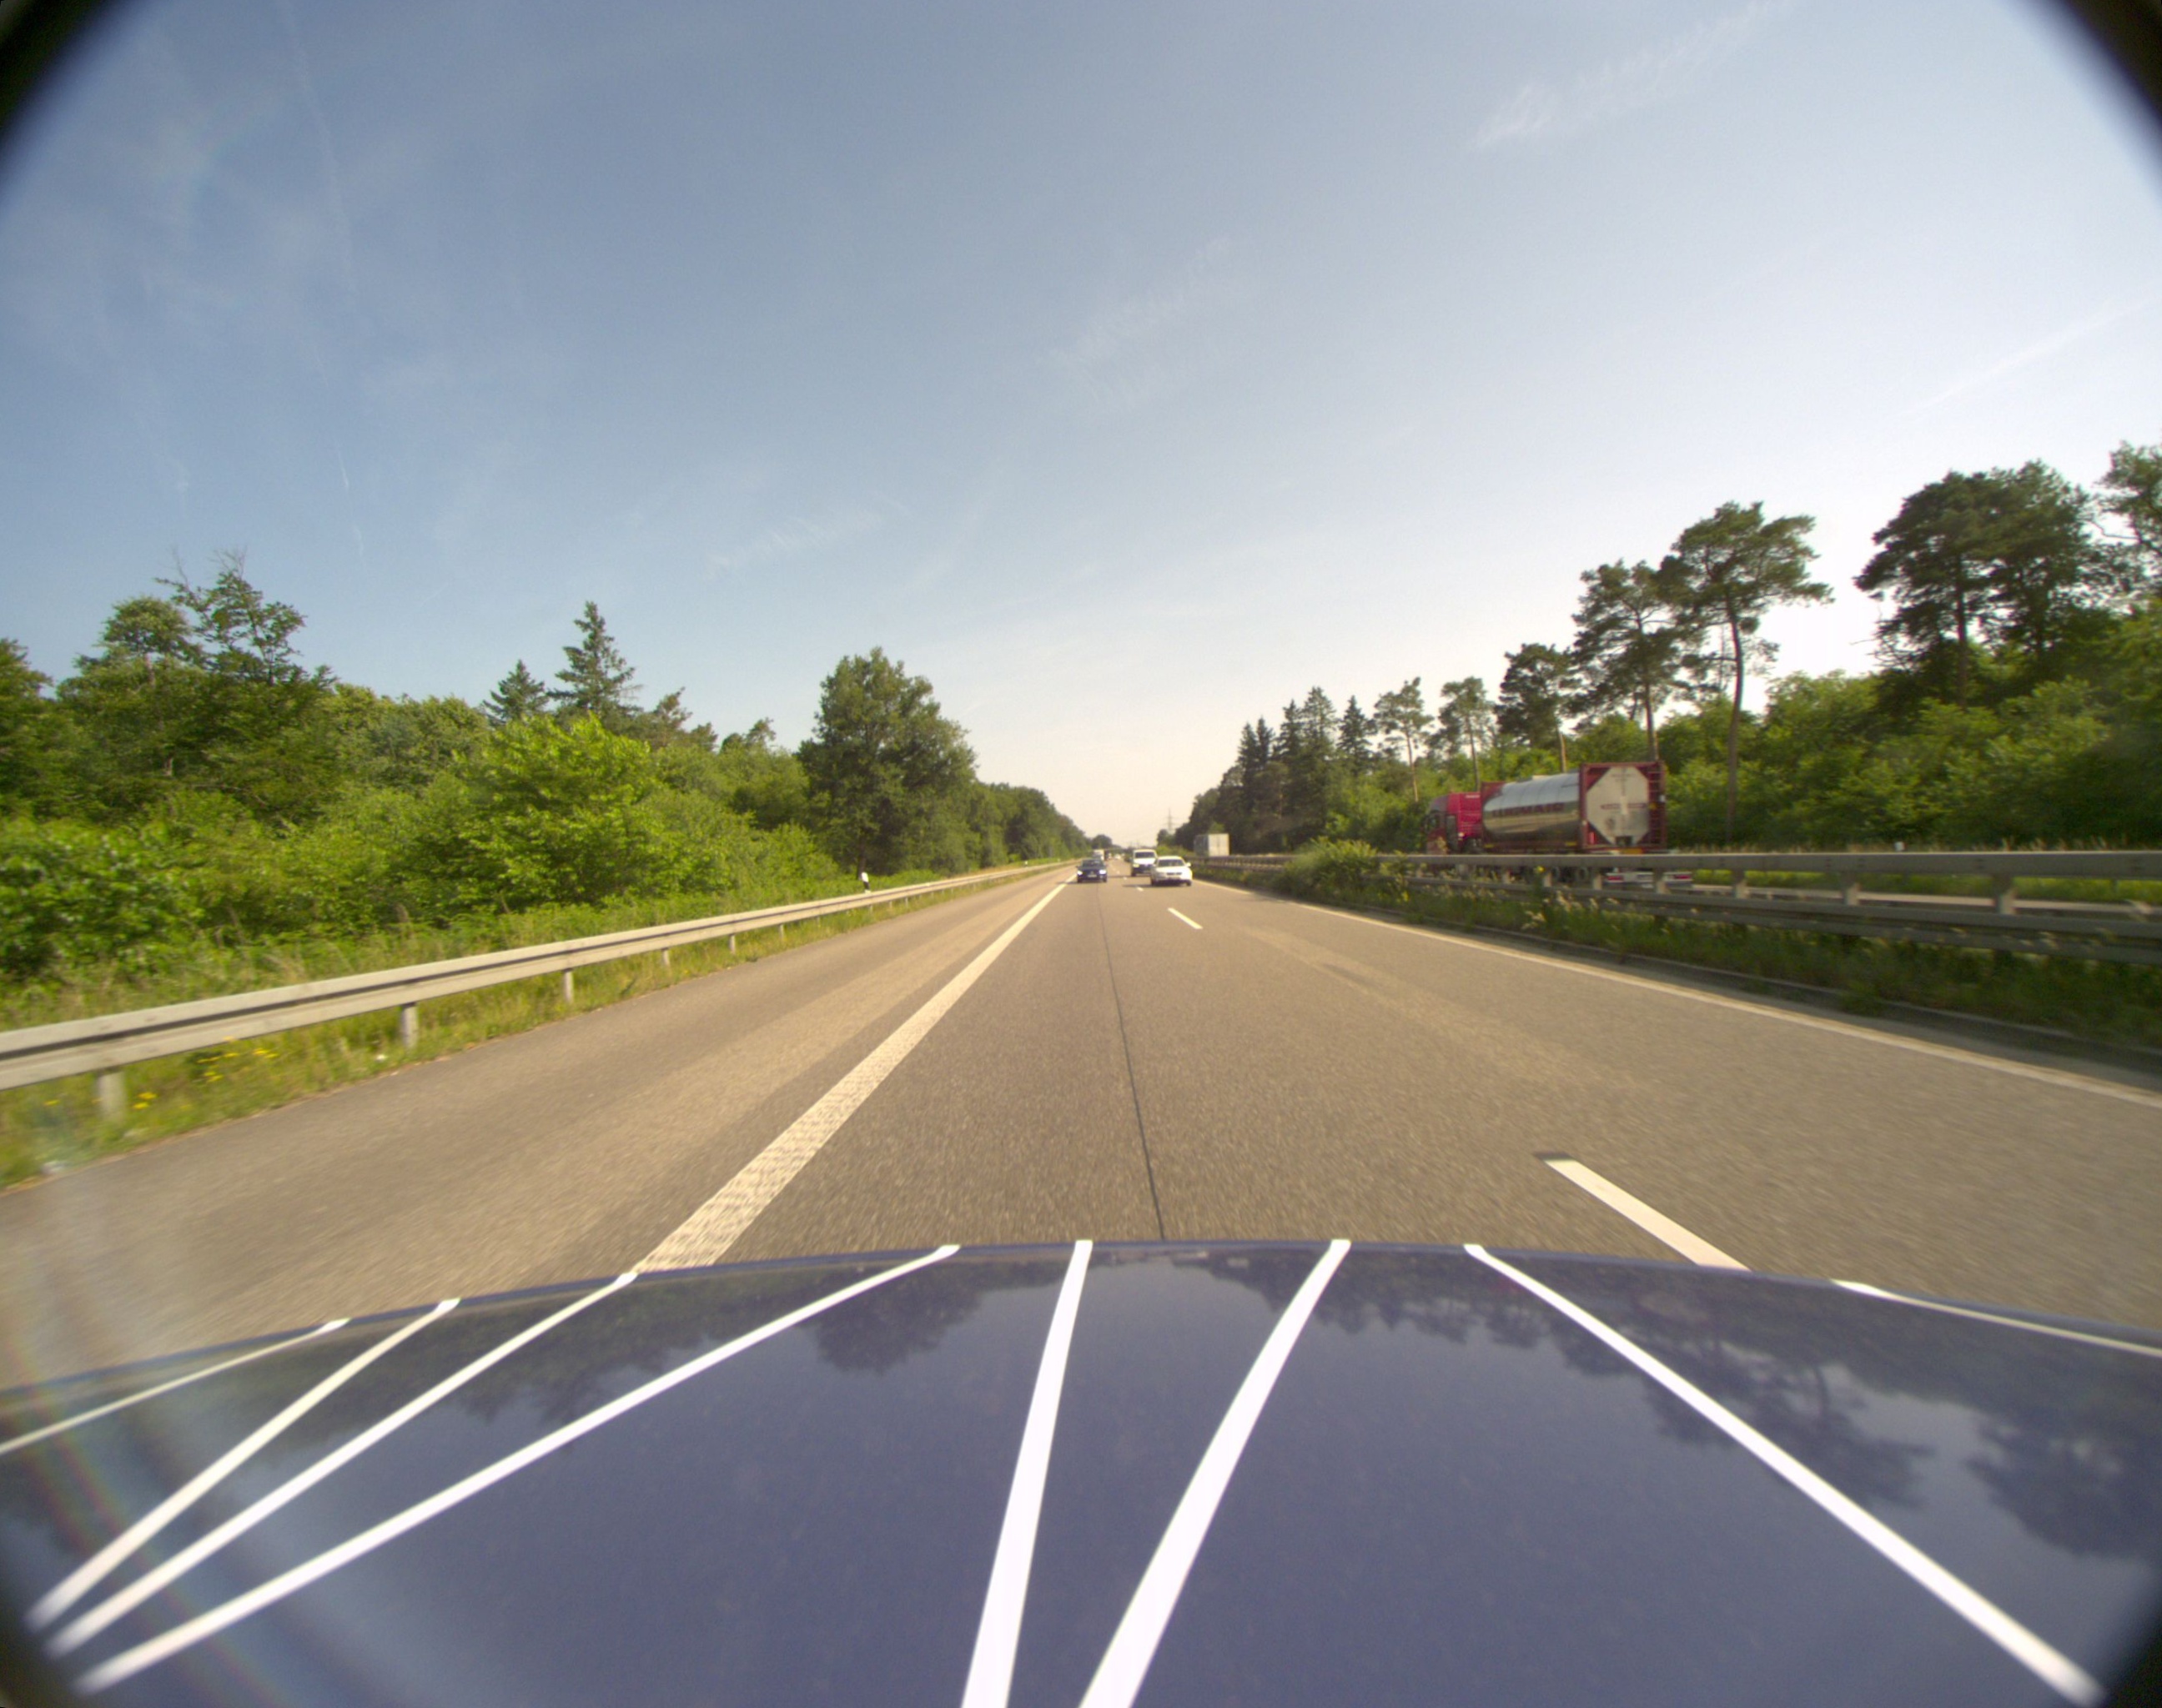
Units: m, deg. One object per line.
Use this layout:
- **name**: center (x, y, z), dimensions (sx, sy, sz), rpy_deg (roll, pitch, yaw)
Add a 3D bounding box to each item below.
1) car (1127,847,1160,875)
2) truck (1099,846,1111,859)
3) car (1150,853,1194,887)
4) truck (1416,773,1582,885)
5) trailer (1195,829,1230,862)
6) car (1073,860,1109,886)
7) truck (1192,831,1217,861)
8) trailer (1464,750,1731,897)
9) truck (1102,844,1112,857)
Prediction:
- **car**: center (4.585, 0.483, 56.320), dimensions (1.912, 1.934, 4.706), rpy_deg (-2, 0, 0)
- **truck**: center (5.856, -0.324, 188.608), dimensions (2.694, 3.020, 10.372), rpy_deg (-2, 0, 1)
- **car**: center (4.486, 0.749, 38.085), dimensions (1.754, 1.477, 5.264), rpy_deg (-2, 0, 3)
- **truck**: center (16.749, -0.947, 31.037), dimensions (3.275, 4.016, 6.232), rpy_deg (-2, 1, 0)
- **trailer**: center (17.772, -1.140, 103.586), dimensions (2.698, 4.176, 13.080), rpy_deg (-1, 0, 1)
- **car**: center (0.567, 0.994, 40.870), dimensions (1.789, 1.285, 3.539), rpy_deg (-2, 0, 2)
- **truck**: center (17.899, -1.158, 110.686), dimensions (2.716, 4.176, 6.293), rpy_deg (-1, 0, 1)
- **trailer**: center (16.713, -0.899, 25.661), dimensions (3.303, 4.016, 8.373), rpy_deg (-2, 1, 1)
- **truck**: center (8.217, -1.012, 241.435), dimensions (2.695, 4.061, 12.365), rpy_deg (-2, 0, 1)
